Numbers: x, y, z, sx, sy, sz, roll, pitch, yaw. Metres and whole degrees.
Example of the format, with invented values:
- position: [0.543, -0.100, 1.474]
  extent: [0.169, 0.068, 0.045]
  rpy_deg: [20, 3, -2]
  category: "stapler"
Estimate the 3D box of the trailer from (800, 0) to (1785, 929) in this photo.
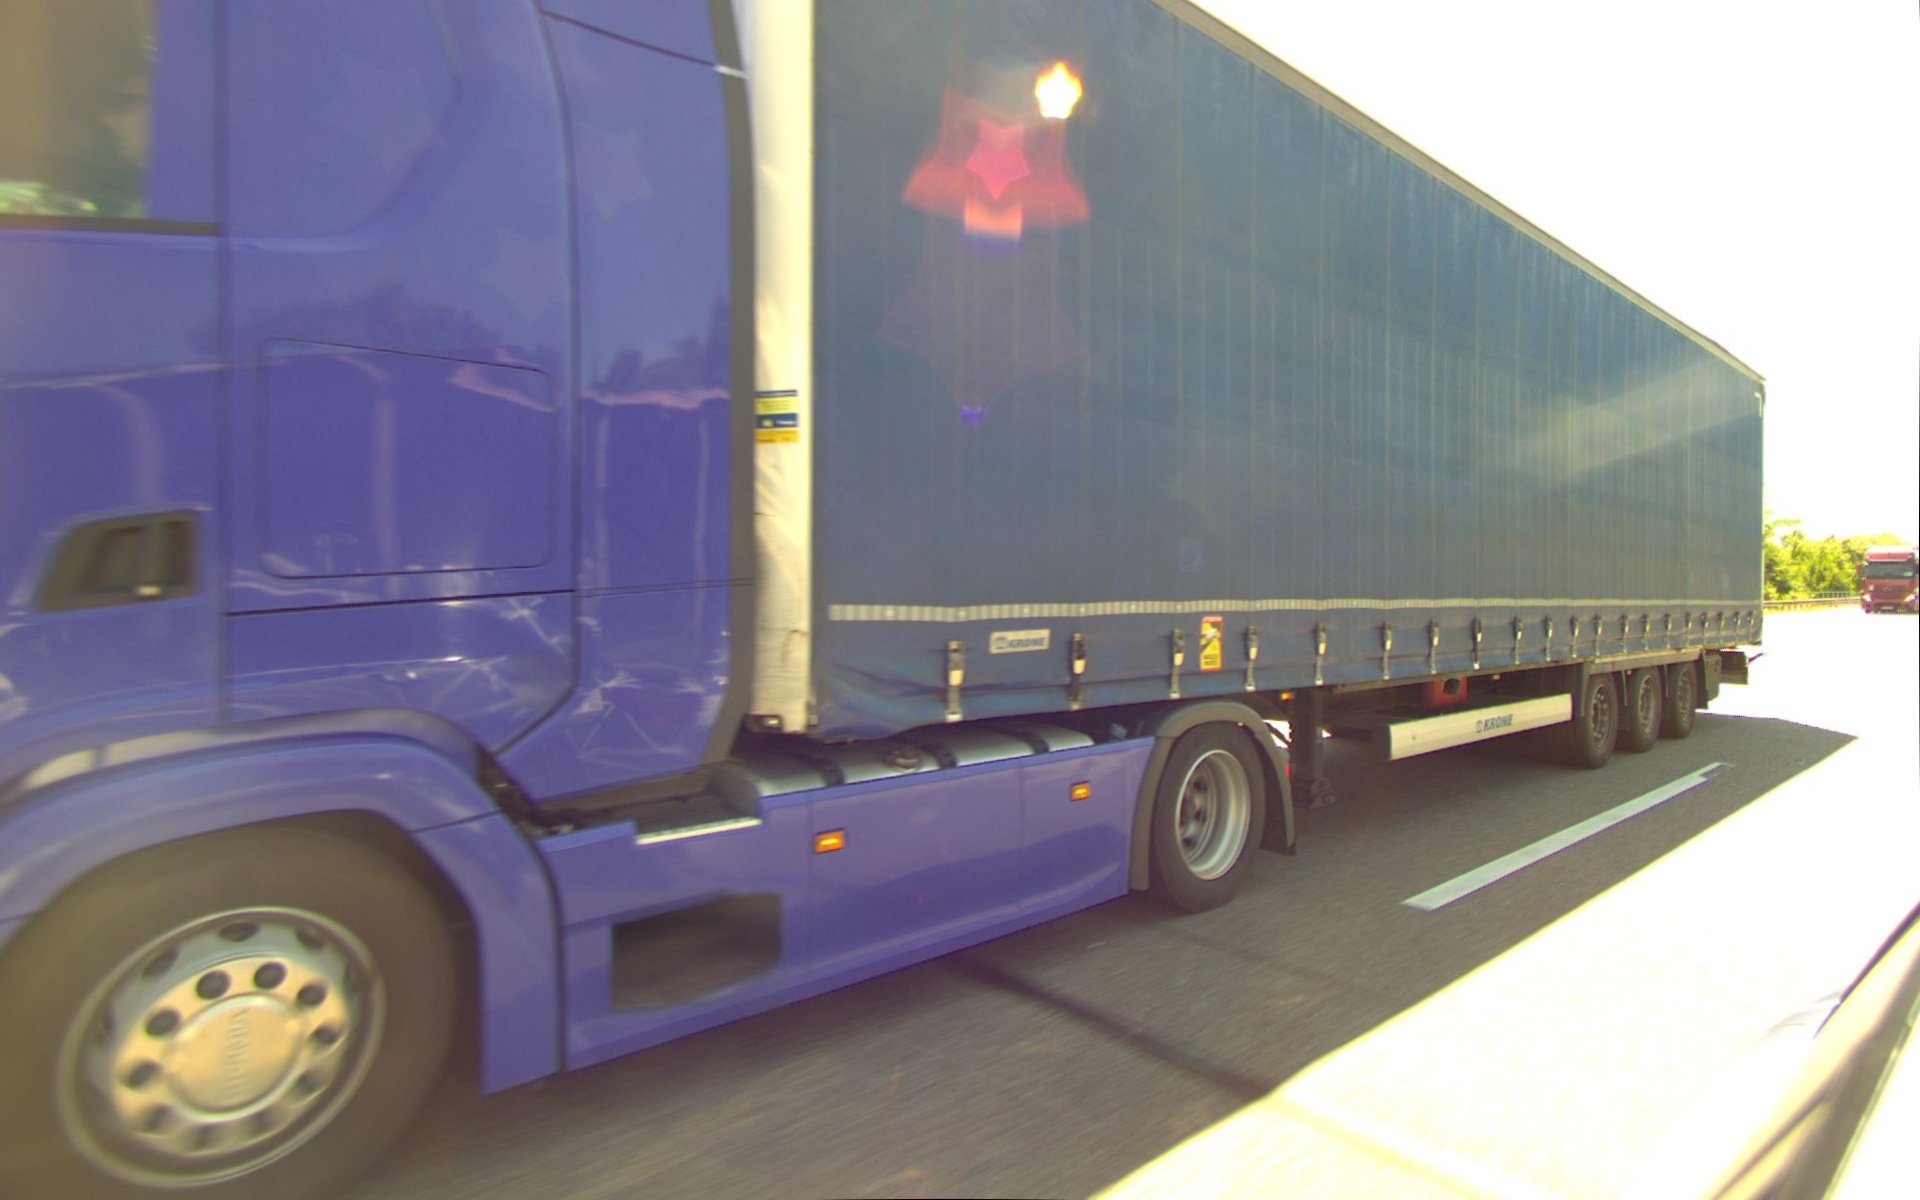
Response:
- position: [4.393, -0.844, 9.072]
  extent: [11.921, 4.169, 2.705]
  rpy_deg: [-1, 1, -41]
  category: "trailer"

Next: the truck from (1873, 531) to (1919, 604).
- position: [57.307, -1.894, 60.857]
  extent: [7.637, 4.169, 2.800]
  rpy_deg: [-1, 1, -42]
  category: "truck"

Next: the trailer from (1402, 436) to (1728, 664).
- position: [14.757, -1.016, 23.806]
  extent: [13.010, 4.169, 2.705]
  rpy_deg: [-1, 1, -41]
  category: "trailer"

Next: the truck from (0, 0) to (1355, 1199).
- position: [-1.386, -0.712, 3.992]
  extent: [6.871, 4.169, 2.704]
  rpy_deg: [-1, 1, -42]
  category: "truck"

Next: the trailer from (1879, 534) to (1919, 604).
- position: [61.045, -1.914, 64.244]
  extent: [12.089, 4.169, 2.799]
  rpy_deg: [-1, 1, -42]
  category: "trailer"
